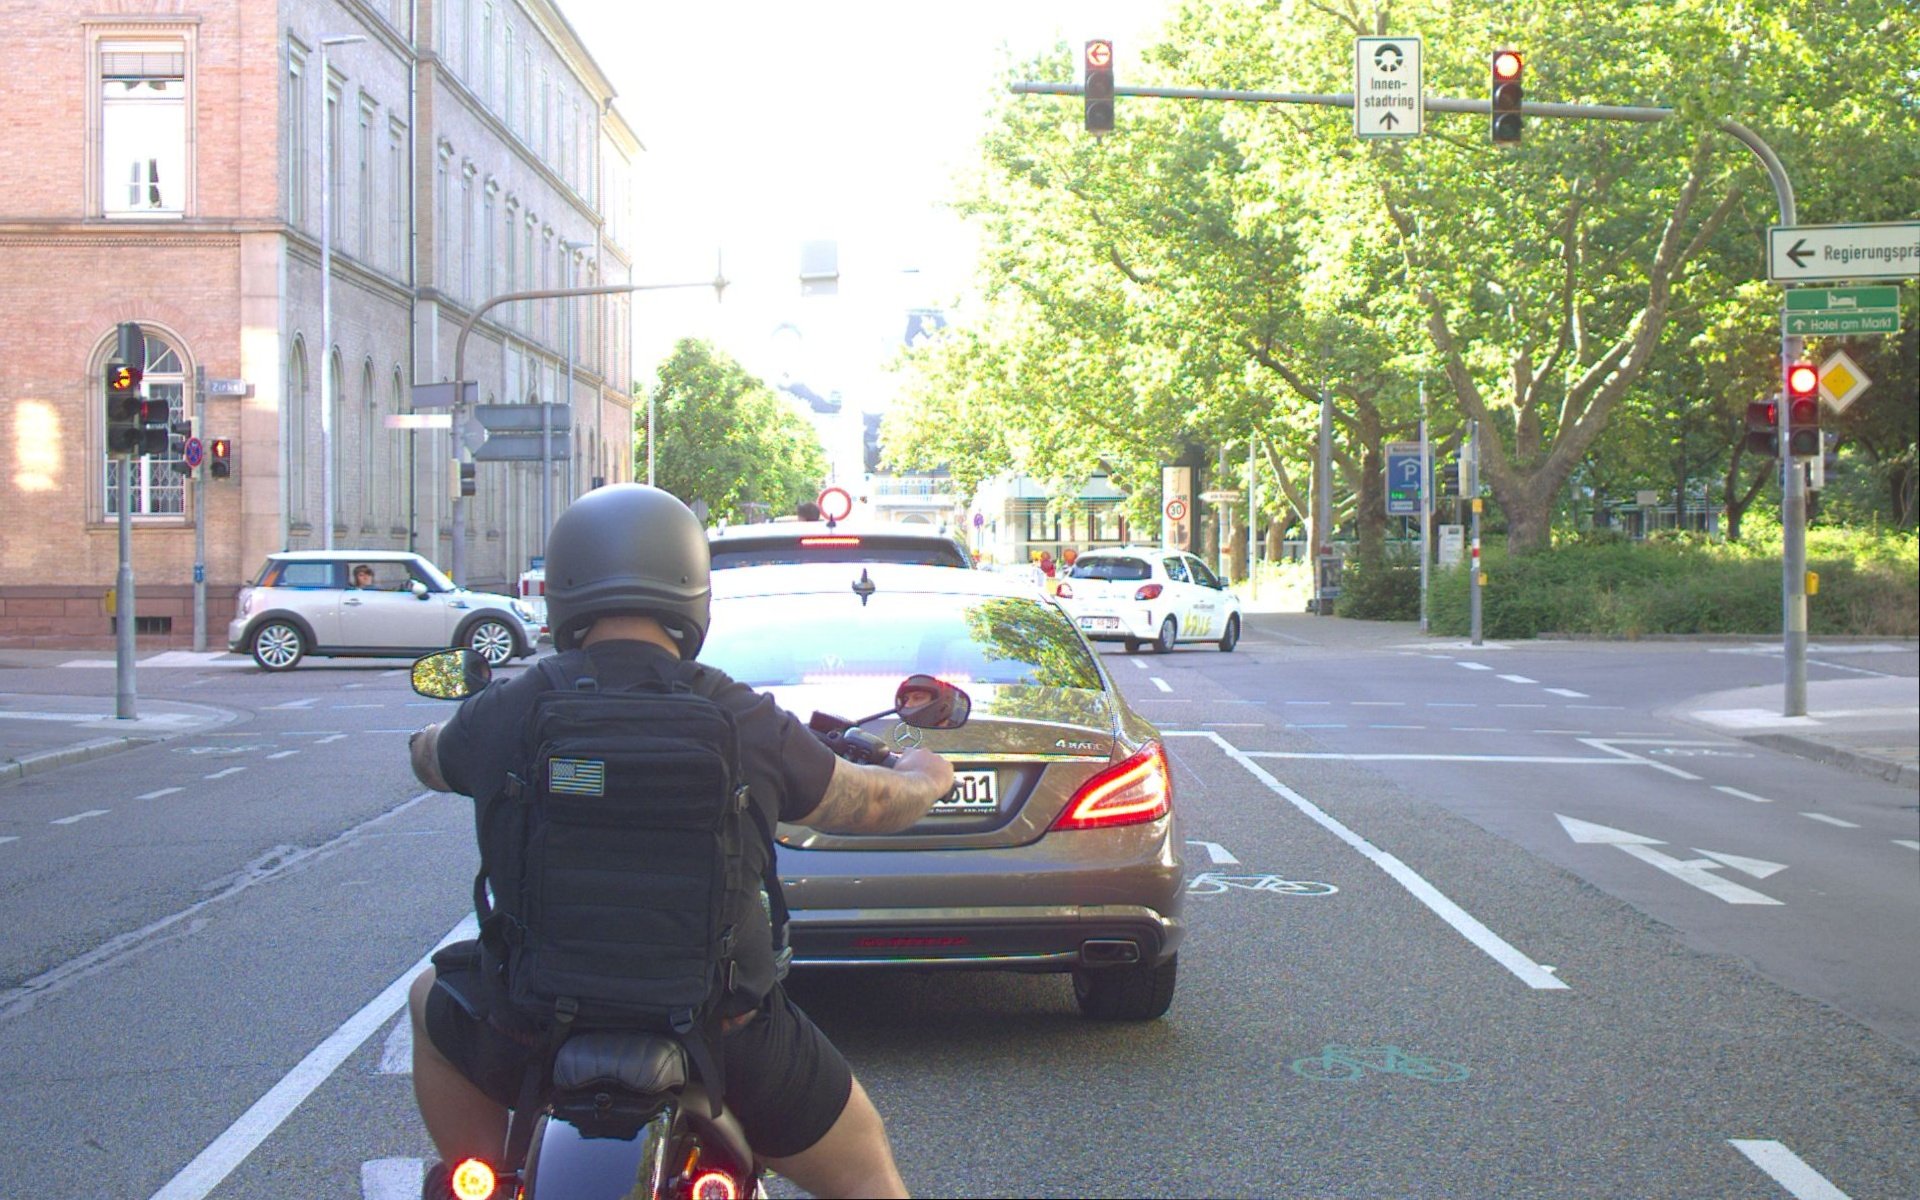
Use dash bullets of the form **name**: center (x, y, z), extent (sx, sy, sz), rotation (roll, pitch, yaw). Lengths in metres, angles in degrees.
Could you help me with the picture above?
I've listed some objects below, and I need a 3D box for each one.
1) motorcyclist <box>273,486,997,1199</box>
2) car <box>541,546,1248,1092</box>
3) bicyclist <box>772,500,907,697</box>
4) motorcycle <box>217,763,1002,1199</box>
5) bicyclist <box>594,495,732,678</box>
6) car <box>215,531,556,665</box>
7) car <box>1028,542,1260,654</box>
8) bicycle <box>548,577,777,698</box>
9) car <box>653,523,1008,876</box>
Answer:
- **motorcyclist**: center (-0.452, 0.626, 5.414), extent (0.989, 1.591, 1.404), rotation (0, 1, -1)
- **car**: center (-0.431, 0.560, 11.609), extent (1.945, 1.468, 4.363), rotation (0, 1, -7)
- **bicyclist**: center (-1.053, -0.019, 30.014), extent (0.964, 1.687, 0.704), rotation (1, 1, 44)
- **motorcycle**: center (-0.455, 0.882, 5.573), extent (0.989, 1.075, 2.452), rotation (0, 1, -1)
- **bicyclist**: center (-2.782, -0.123, 32.219), extent (1.046, 1.689, 0.704), rotation (-1, 0, 34)
- **car**: center (-6.904, -0.036, 41.180), extent (3.894, 1.475, 1.828), rotation (-1, 1, -13)
- **car**: center (2.602, -0.039, 47.859), extent (1.858, 1.481, 3.903), rotation (1, 1, 26)
- **bicycle**: center (-2.801, 0.349, 32.245), extent (2.160, 1.099, 0.704), rotation (-1, 0, 34)
- **car**: center (-0.637, 0.410, 17.774), extent (1.612, 1.602, 4.329), rotation (0, 1, -1)
